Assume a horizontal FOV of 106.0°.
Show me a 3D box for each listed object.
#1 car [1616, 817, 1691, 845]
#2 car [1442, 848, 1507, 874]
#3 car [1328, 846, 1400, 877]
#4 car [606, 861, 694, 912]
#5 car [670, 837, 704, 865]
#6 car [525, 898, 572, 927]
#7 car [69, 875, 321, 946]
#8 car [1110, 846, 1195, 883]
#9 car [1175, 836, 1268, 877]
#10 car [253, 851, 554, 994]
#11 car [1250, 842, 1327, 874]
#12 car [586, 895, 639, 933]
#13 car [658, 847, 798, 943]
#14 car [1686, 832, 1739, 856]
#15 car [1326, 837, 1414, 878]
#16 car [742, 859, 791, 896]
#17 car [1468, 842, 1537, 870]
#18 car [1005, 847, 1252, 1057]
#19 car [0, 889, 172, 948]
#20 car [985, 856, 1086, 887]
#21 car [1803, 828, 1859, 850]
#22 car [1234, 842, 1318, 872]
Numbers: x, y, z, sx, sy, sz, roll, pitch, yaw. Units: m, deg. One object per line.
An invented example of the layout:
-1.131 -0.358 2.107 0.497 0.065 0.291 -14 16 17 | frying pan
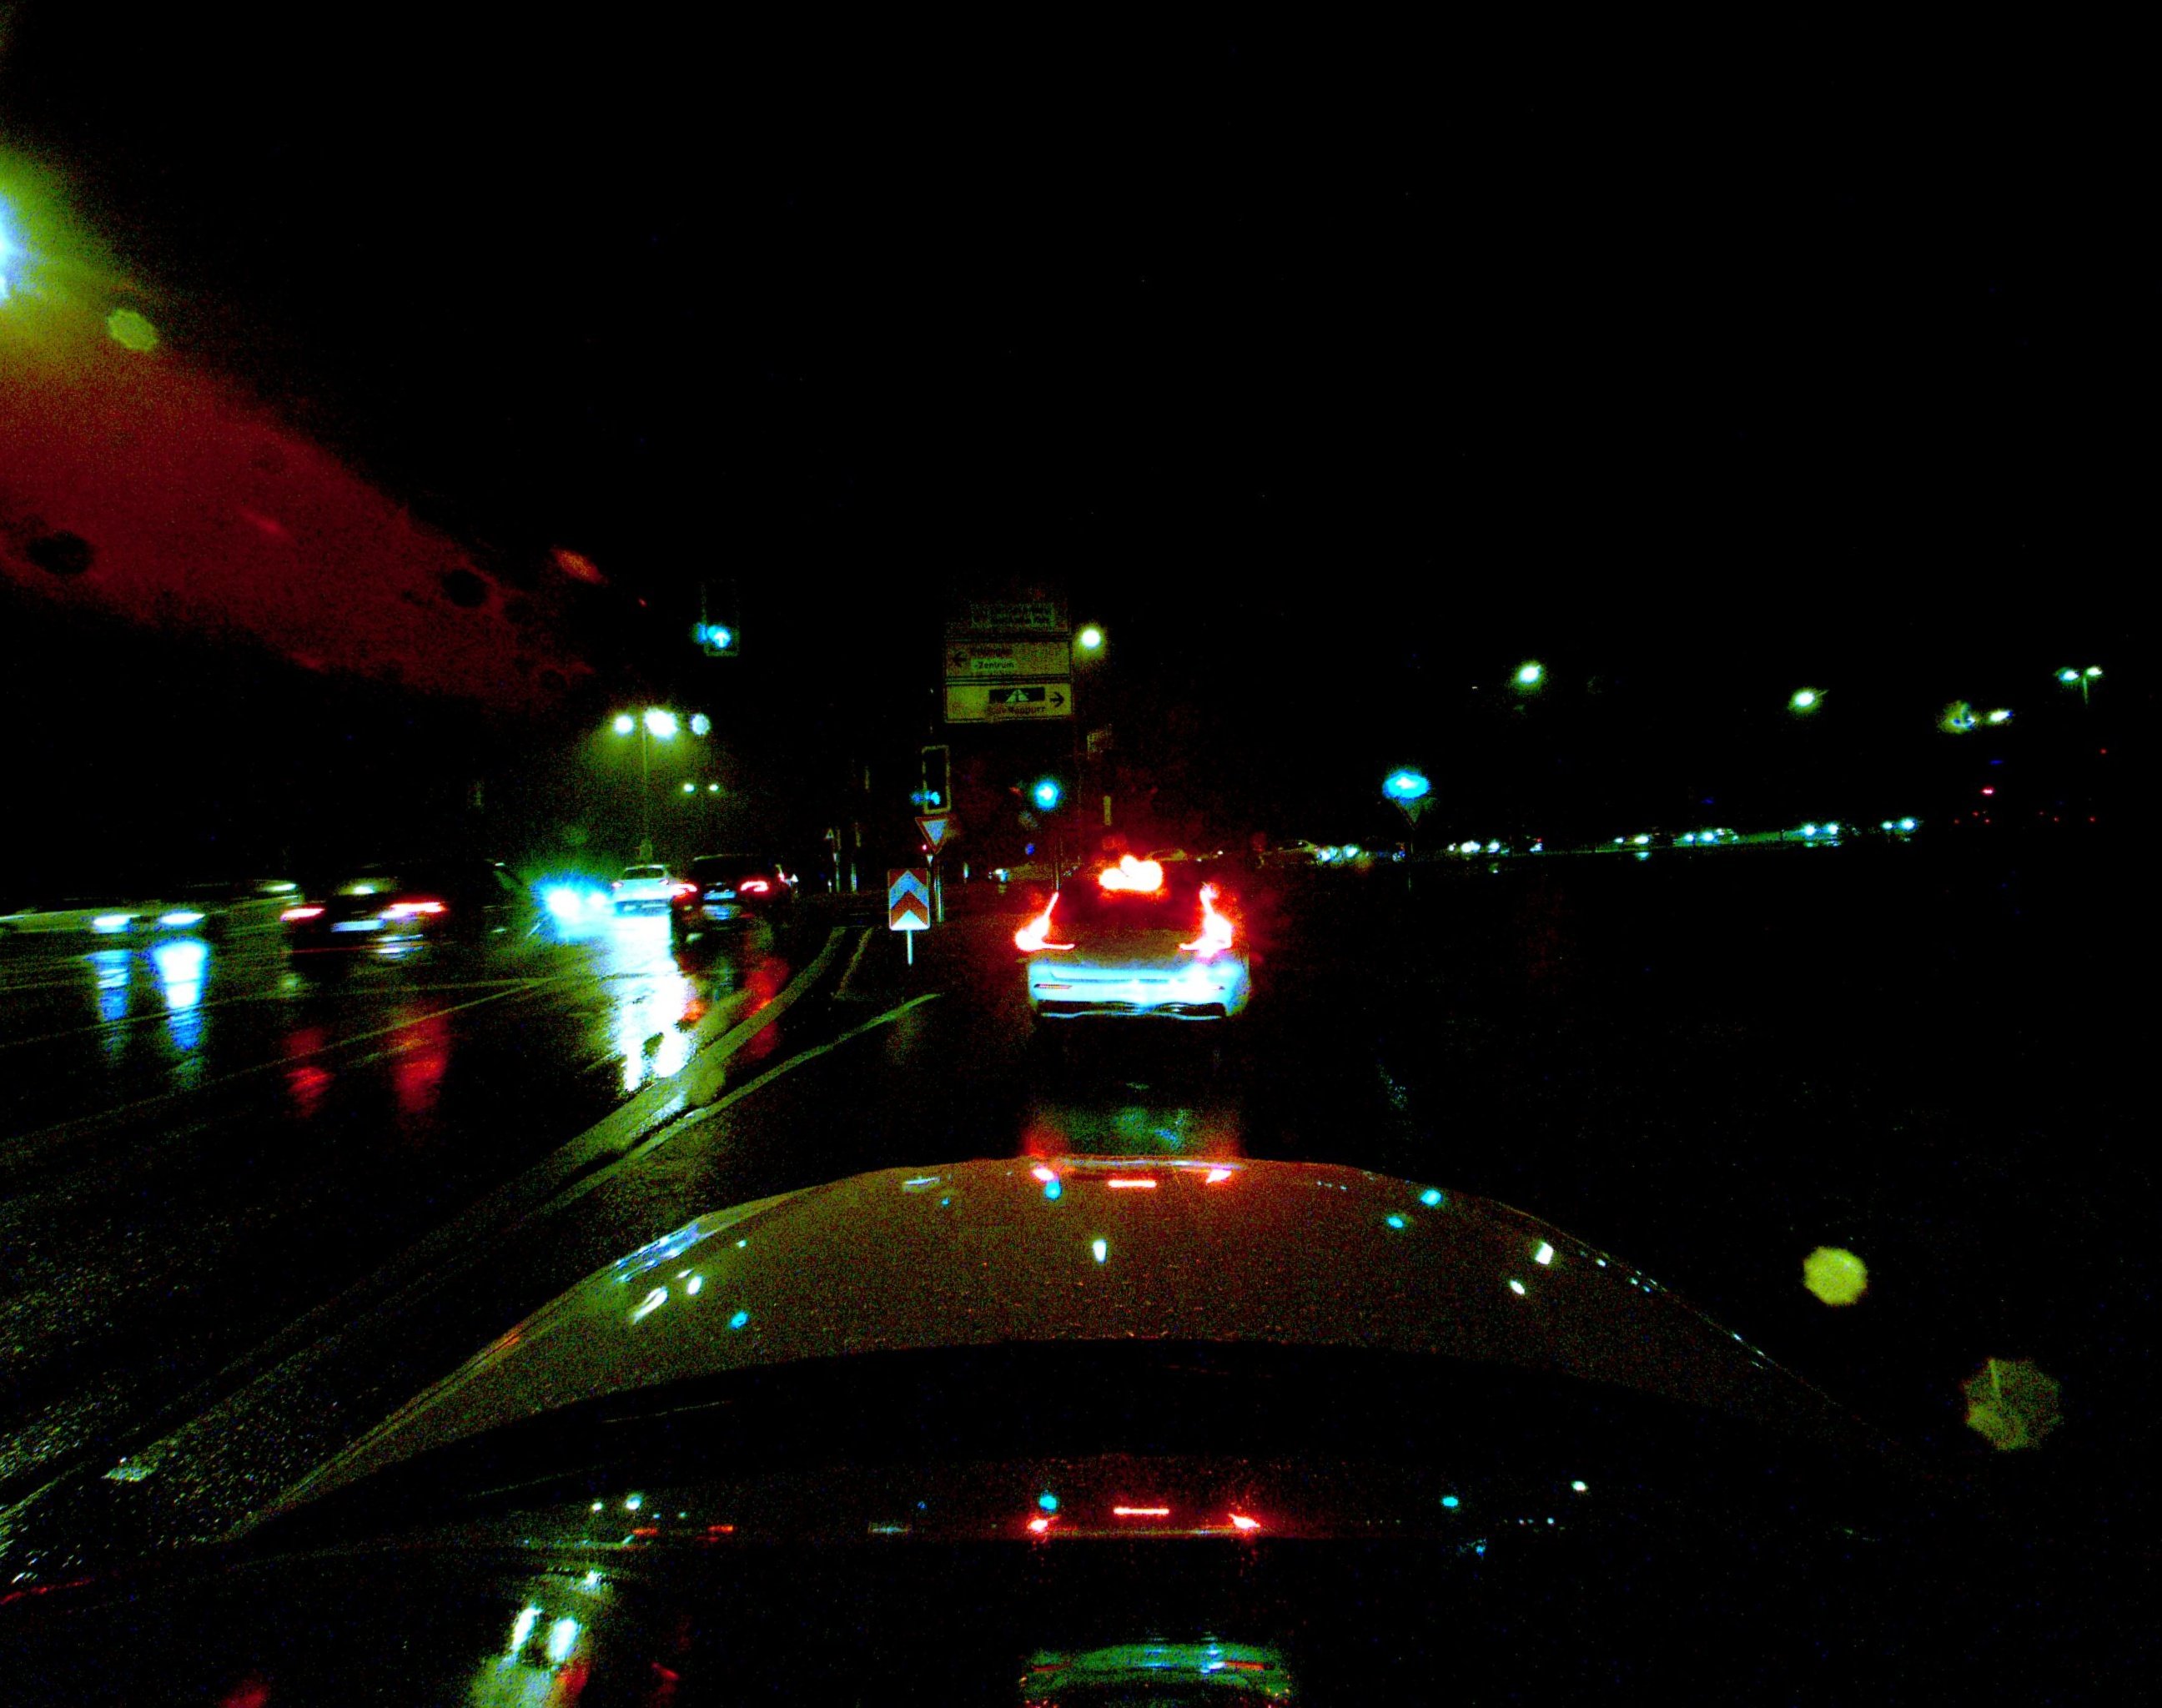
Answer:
36.272 -1.445 51.599 4.417 1.484 1.768 -2 -4 -23 | car
26.811 0.456 55.491 4.131 1.714 1.751 -1 -1 -25 | car
17.514 0.453 50.385 4.131 1.848 1.751 -1 -1 -25 | car
-13.805 1.000 26.274 1.658 1.445 3.772 -2 -1 -15 | car
-31.244 -0.213 64.661 1.779 2.079 3.978 0 -1 -16 | car
-37.792 4.126 57.924 1.774 1.772 3.976 0 0 -17 | car
-21.881 1.309 20.472 1.929 1.463 4.766 -1 0 -14 | car
3.849 0.550 43.739 4.292 1.848 1.751 -1 -1 -25 | car
6.535 0.086 37.902 3.906 1.725 1.752 -2 0 -23 | car
-9.555 0.862 11.971 1.913 1.658 3.964 -2 -1 -16 | car
12.205 0.213 47.884 4.257 1.799 1.789 -1 -1 -25 | car
-28.780 3.653 50.169 1.816 2.014 3.980 -1 -1 -15 | car
-6.874 0.688 16.325 1.830 1.653 4.459 0 0 -14 | car
51.857 -0.808 66.913 4.006 1.849 1.814 0 -1 -25 | car
19.601 0.220 55.144 5.617 2.710 2.238 -1 -1 -24 | car
-13.625 0.998 35.471 1.704 1.463 4.288 -2 -1 -18 | car
26.314 0.136 50.869 3.983 1.666 1.789 -1 -1 -25 | car
0.749 0.693 8.035 1.784 1.452 4.283 -1 1 11 | car
-34.725 2.165 28.034 1.908 1.717 4.322 -1 0 32 | car
-2.279 0.854 40.940 4.810 1.427 1.751 -1 -1 -24 | car
60.019 -1.202 65.191 4.314 1.578 1.803 -2 -1 -26 | car
10.258 0.166 42.886 4.060 1.487 1.706 -1 -1 -21 | car
